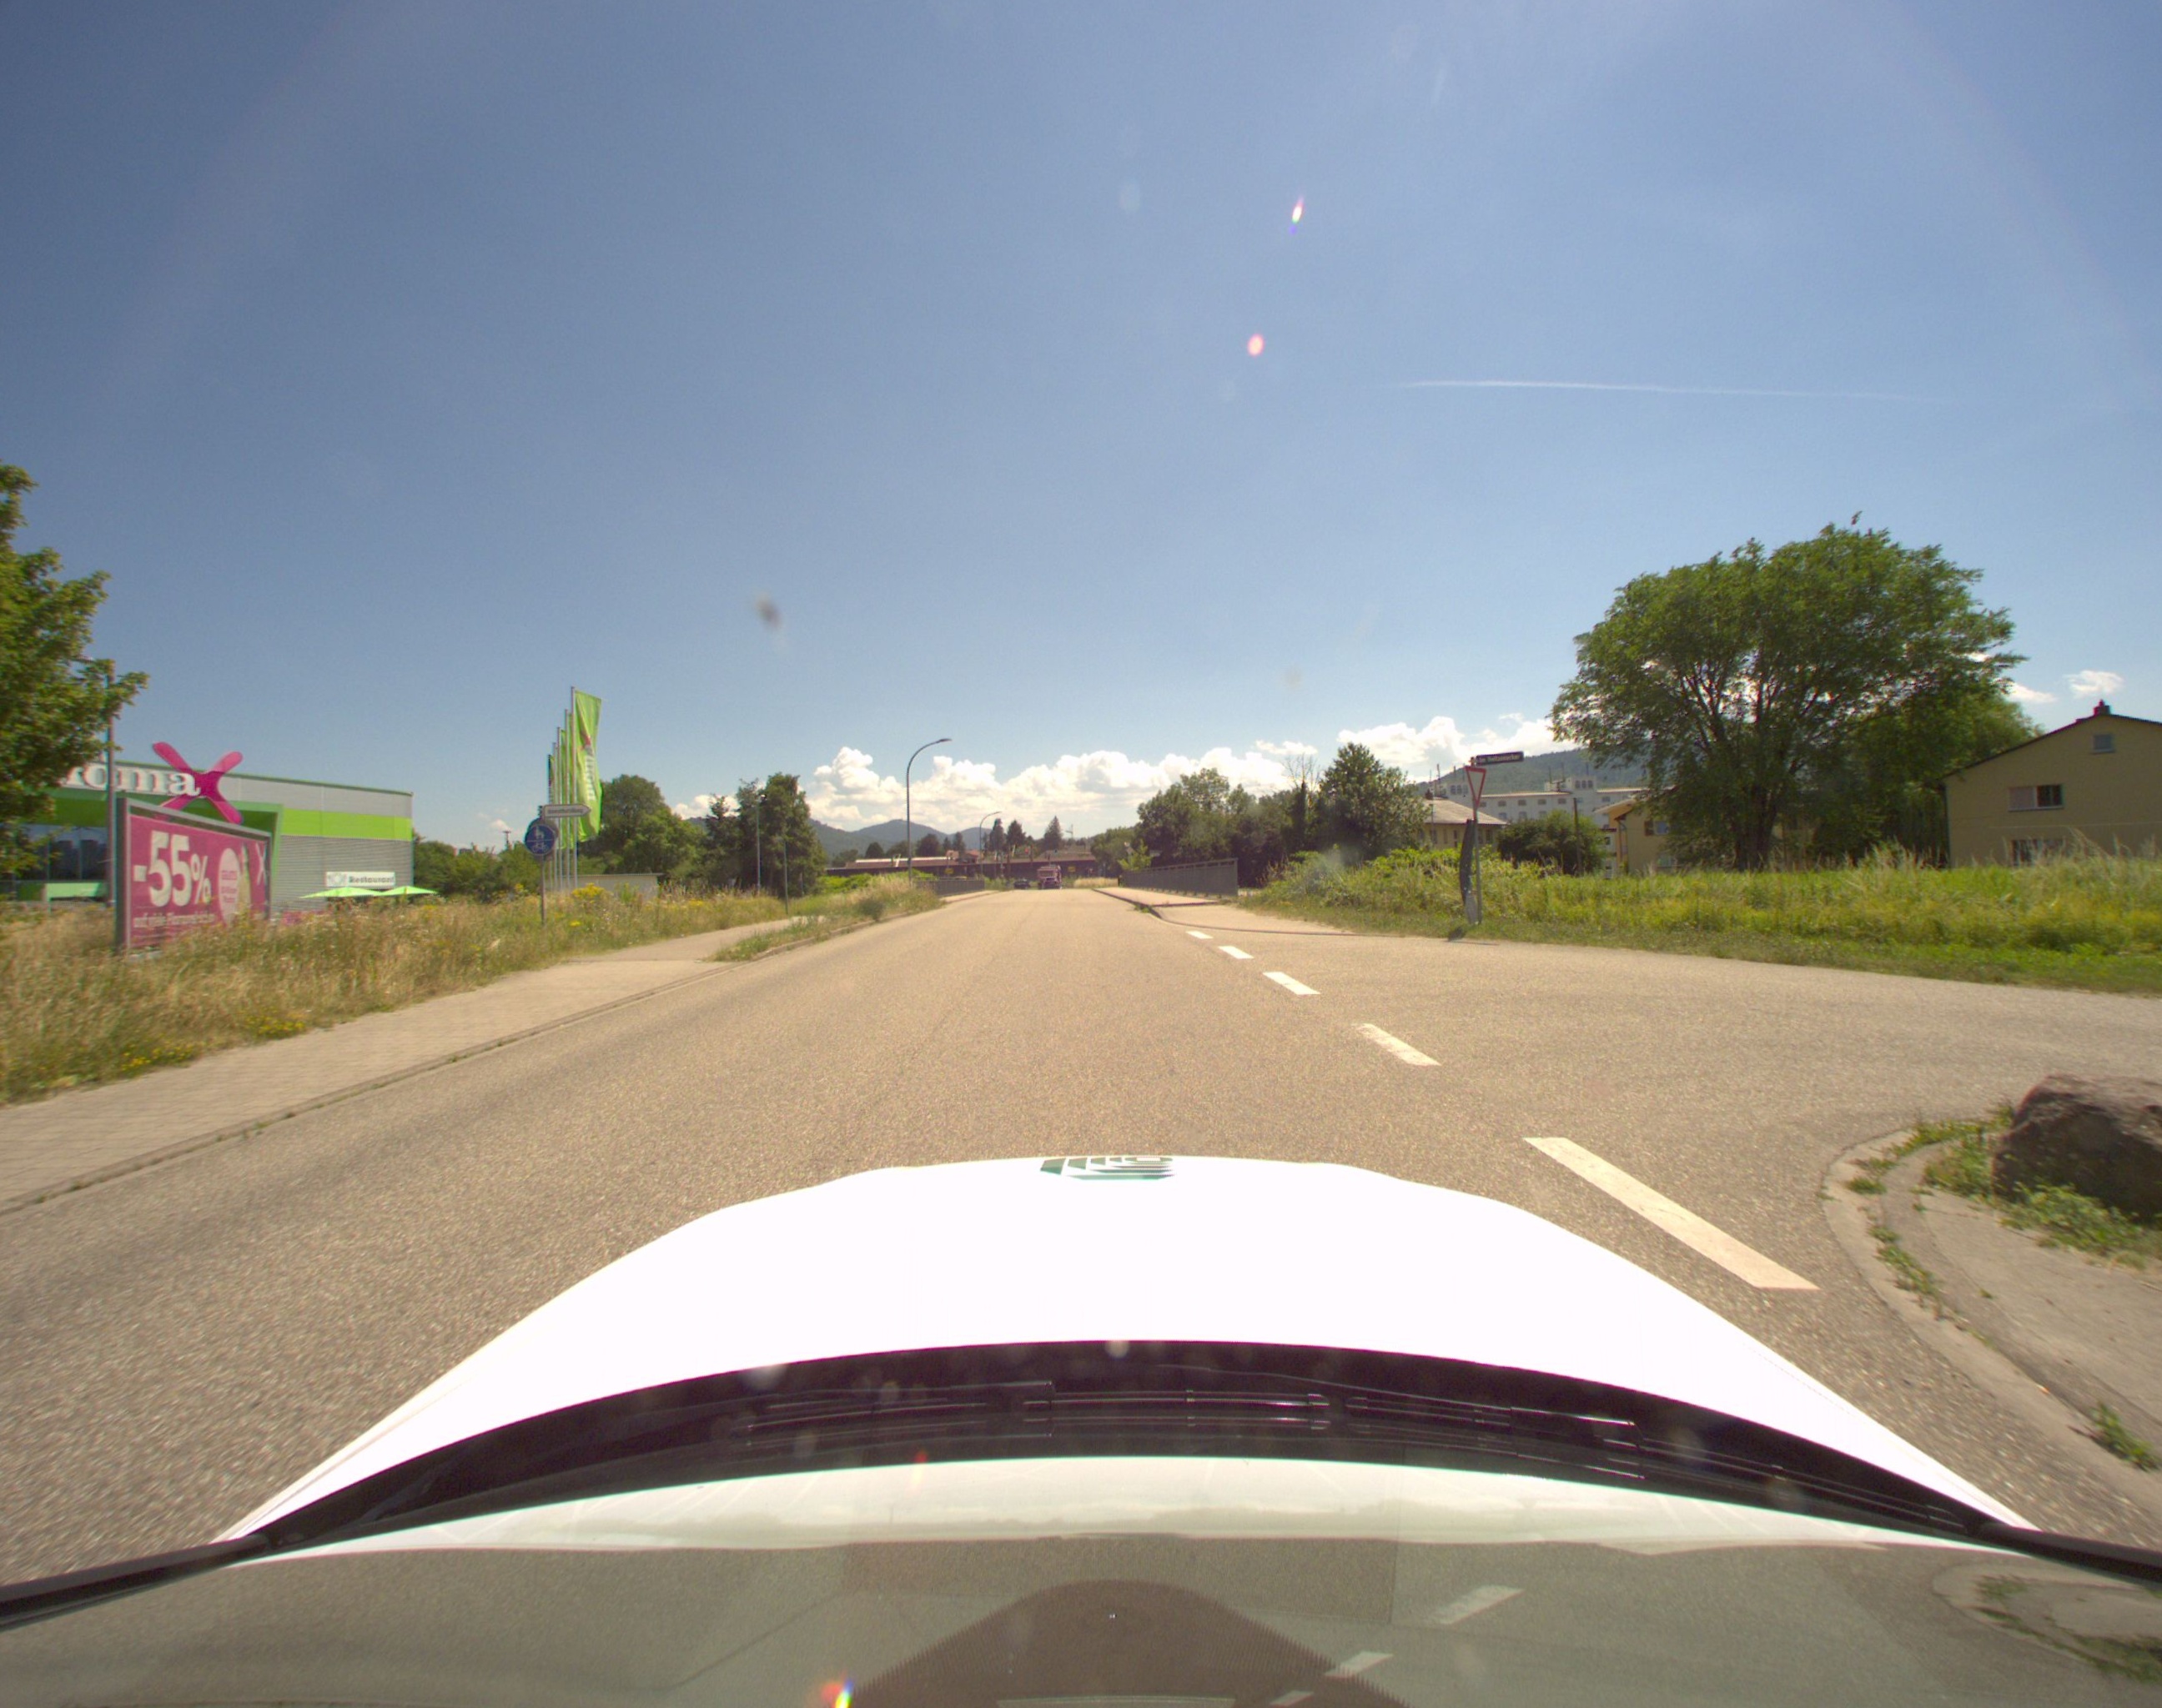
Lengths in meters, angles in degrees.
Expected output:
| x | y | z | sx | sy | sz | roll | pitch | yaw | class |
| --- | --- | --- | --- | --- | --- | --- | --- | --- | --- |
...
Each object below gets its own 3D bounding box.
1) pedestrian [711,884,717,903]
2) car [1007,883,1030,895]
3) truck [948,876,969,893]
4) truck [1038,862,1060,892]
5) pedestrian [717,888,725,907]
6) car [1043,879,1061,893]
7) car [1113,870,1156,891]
| x | y | z | sx | sy | sz | roll | pitch | yaw | class |
| --- | --- | --- | --- | --- | --- | --- | --- | --- | --- |
| -32.799 | 3.541 | 72.785 | 0.515 | 1.674 | 0.624 | 1 | -2 | -24 | pedestrian |
| -11.028 | 6.211 | 144.193 | 3.982 | 1.702 | 1.905 | -2 | 2 | -6 | car |
| -18.752 | 4.686 | 124.606 | 2.314 | 2.338 | 9.006 | -3 | -2 | -14 | truck |
| -4.804 | 3.411 | 119.716 | 2.990 | 4.181 | 11.790 | -1 | -2 | -4 | truck |
| -32.565 | 3.919 | 73.644 | 0.629 | 1.674 | 0.593 | 1 | -2 | -23 | pedestrian |
| -3.349 | 3.706 | 94.200 | 1.989 | 1.503 | 3.995 | 0 | -1 | -3 | car |
| 4.598 | 2.288 | 70.125 | 1.894 | 1.634 | 3.733 | -2 | 1 | -31 | car |
